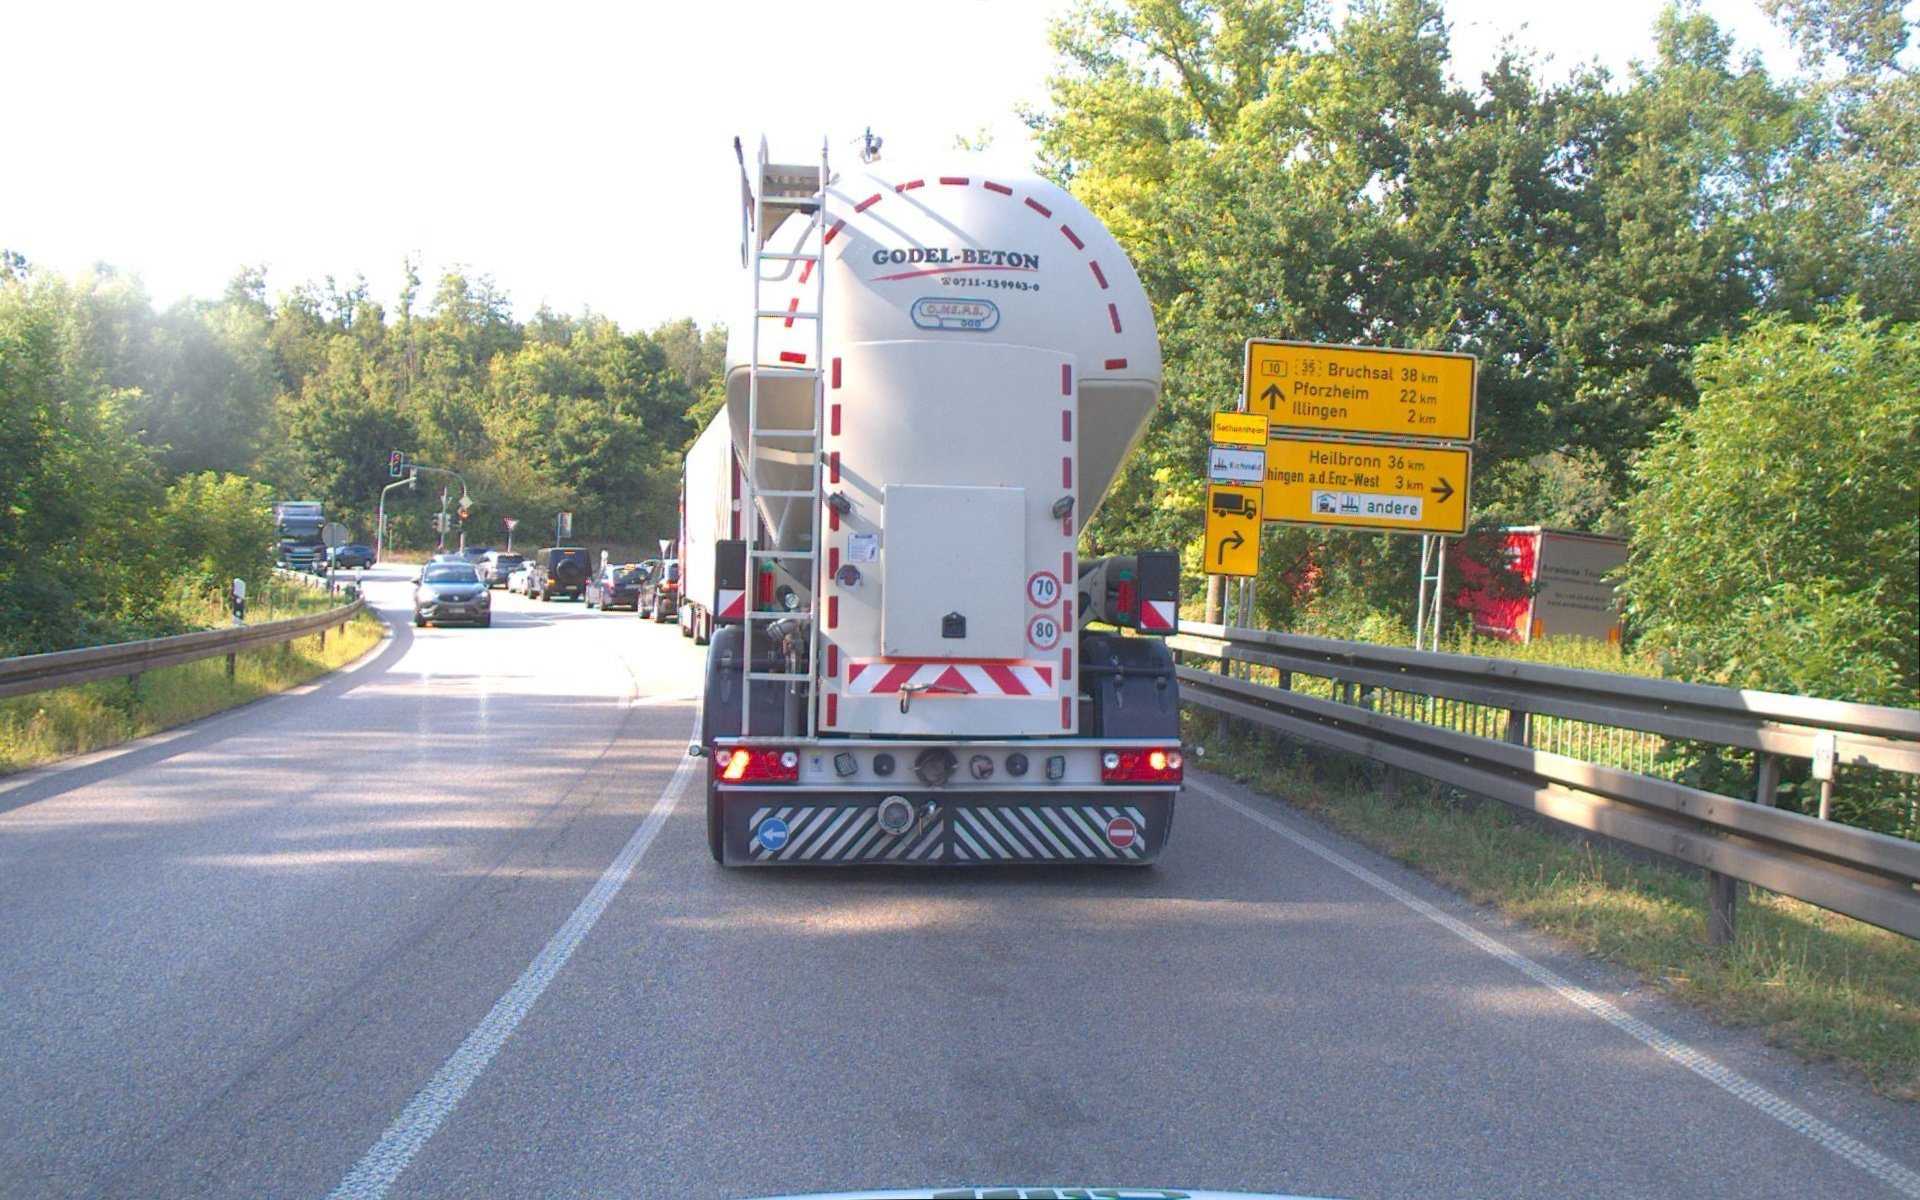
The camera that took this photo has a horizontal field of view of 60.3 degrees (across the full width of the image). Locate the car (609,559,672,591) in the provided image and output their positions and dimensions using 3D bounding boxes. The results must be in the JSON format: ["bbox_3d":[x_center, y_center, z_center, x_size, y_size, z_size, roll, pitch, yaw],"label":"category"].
[{"bbox_3d":[-23.054,-1.808,119.245,3.963,2.048,1.971,3,0,-41],"label":"car"}]

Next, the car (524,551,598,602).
[{"bbox_3d":[-15.306,-0.922,63.274,1.933,1.883,3.966,-1,2,-27],"label":"car"}]

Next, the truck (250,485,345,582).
[{"bbox_3d":[-34.753,-3.368,86.487,2.982,4.665,10.133,1,0,-31],"label":"truck"}]

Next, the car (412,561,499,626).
[{"bbox_3d":[-13.114,-0.204,42.864,1.841,1.592,3.974,0,1,-22],"label":"car"}]

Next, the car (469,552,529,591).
[{"bbox_3d":[-21.228,-1.312,76.120,1.846,1.622,3.965,3,0,-27],"label":"car"}]

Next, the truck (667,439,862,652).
[{"bbox_3d":[-4.484,-1.109,36.553,3.392,4.157,6.467,2,0,-14],"label":"truck"}]

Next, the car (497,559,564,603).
[{"bbox_3d":[-18.353,-0.843,70.564,1.846,1.712,3.964,3,0,-28],"label":"car"}]

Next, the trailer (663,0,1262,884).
[{"bbox_3d":[-0.436,-0.934,12.776,2.831,4.532,9.594,1,0,-6],"label":"trailer"}]

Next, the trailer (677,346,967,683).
[{"bbox_3d":[-2.990,-1.224,29.606,3.483,4.591,12.946,2,0,-12],"label":"trailer"}]

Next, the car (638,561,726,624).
[{"bbox_3d":[-7.823,-0.253,46.301,1.839,1.656,3.979,0,1,-19],"label":"car"}]

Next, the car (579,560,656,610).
[{"bbox_3d":[-11.314,-0.519,54.483,1.841,1.592,3.974,0,1,-22],"label":"car"}]

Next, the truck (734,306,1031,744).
[{"bbox_3d":[-1.104,-0.713,18.678,2.771,4.105,5.884,1,0,-8],"label":"truck"}]
